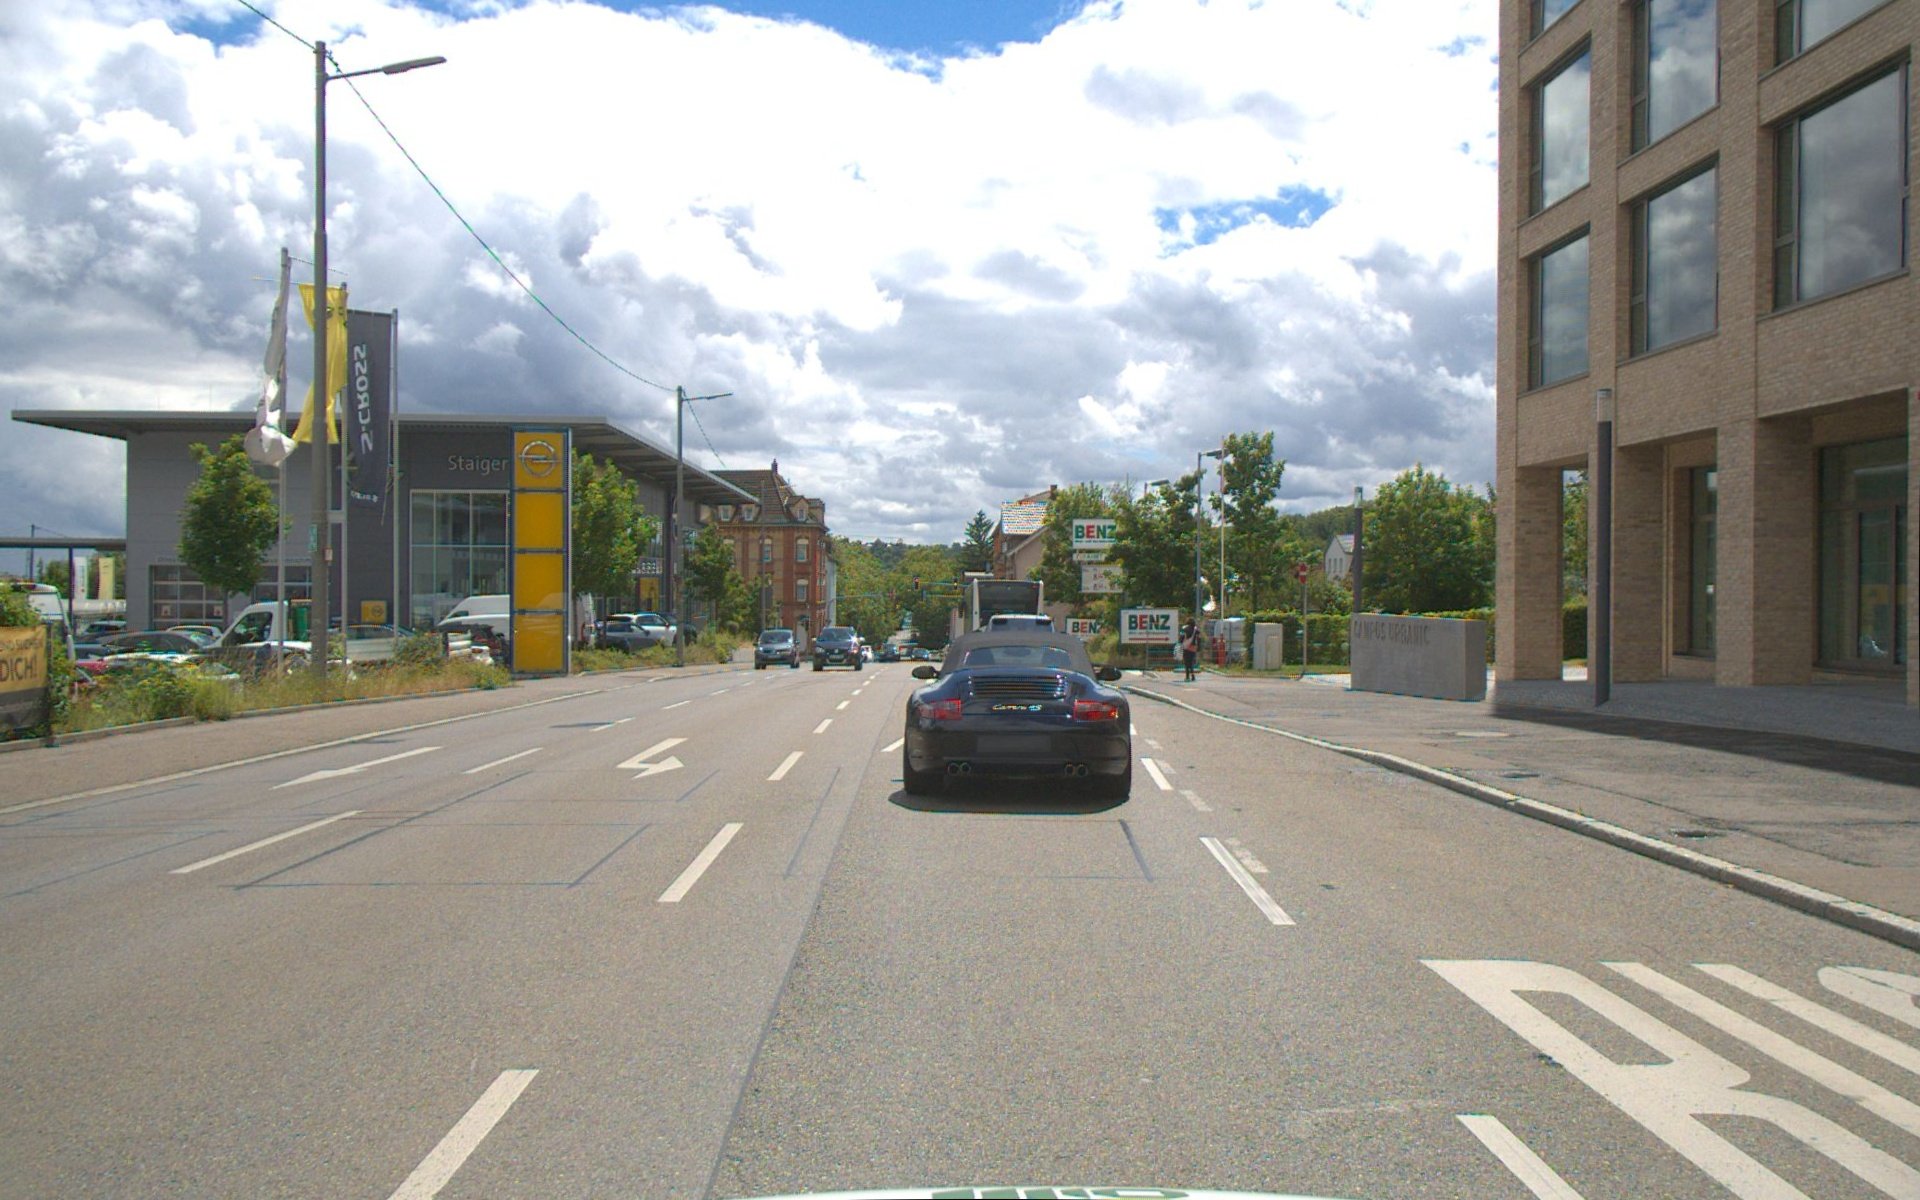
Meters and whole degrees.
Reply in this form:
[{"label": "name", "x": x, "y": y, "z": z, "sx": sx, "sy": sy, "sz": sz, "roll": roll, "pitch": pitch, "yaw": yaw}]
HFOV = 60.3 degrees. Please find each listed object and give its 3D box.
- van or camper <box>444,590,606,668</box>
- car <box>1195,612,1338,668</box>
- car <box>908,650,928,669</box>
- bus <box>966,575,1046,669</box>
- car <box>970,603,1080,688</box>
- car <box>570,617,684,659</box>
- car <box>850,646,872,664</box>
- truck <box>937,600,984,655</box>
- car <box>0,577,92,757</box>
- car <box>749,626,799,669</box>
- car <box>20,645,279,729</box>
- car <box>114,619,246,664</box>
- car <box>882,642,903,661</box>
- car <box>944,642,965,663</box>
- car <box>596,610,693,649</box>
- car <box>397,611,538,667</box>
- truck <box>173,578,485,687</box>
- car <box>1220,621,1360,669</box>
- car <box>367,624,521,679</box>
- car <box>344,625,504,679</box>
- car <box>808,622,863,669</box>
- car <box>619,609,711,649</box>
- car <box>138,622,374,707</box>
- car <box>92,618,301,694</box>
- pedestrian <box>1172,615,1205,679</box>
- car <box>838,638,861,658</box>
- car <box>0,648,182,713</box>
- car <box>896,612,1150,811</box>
[{"label": "van or camper", "x": -14.804, "y": 0.963, "z": 56.506, "sx": 4.925, "sy": 2.575, "sz": 2.317, "roll": 0, "pitch": 0, "yaw": -2}, {"label": "car", "x": 11.035, "y": 1.450, "z": 59.686, "sx": 4.620, "sy": 1.881, "sz": 2.084, "roll": -1, "pitch": -2, "yaw": -9}, {"label": "car", "x": -3.905, "y": 5.462, "z": 152.072, "sx": 1.826, "sy": 1.695, "sz": 4.257, "roll": 0, "pitch": -2, "yaw": -2}, {"label": "bus", "x": 1.664, "y": 0.700, "z": 63.708, "sx": 2.744, "sy": 3.254, "sz": 12.196, "roll": 0, "pitch": 1, "yaw": 1}, {"label": "car", "x": 1.275, "y": 0.895, "z": 34.263, "sx": 1.892, "sy": 1.610, "sz": 4.205, "roll": 0, "pitch": 0, "yaw": -3}, {"label": "car", "x": -13.078, "y": 1.466, "z": 65.268, "sx": 1.858, "sy": 1.476, "sz": 4.827, "roll": 1, "pitch": 1, "yaw": 26}, {"label": "car", "x": -8.960, "y": 4.998, "z": 150.002, "sx": 1.826, "sy": 1.567, "sz": 4.104, "roll": 0, "pitch": -2, "yaw": -2}, {"label": "truck", "x": -0.029, "y": 1.760, "z": 101.288, "sx": 2.613, "sy": 3.163, "sz": 9.031, "roll": -1, "pitch": -2, "yaw": -1}, {"label": "car", "x": -13.018, "y": 0.745, "z": 19.798, "sx": 4.077, "sy": 2.049, "sz": 2.197, "roll": 0, "pitch": 0, "yaw": -3}, {"label": "car", "x": -7.639, "y": 1.923, "z": 68.183, "sx": 1.709, "sy": 1.623, "sz": 4.040, "roll": -2, "pitch": -1, "yaw": -2}, {"label": "car", "x": -13.503, "y": 1.428, "z": 27.690, "sx": 3.472, "sy": 1.348, "sz": 1.711, "roll": 0, "pitch": -2, "yaw": 2}, {"label": "car", "x": -26.387, "y": 1.398, "z": 56.066, "sx": 3.625, "sy": 1.422, "sz": 1.845, "roll": 0, "pitch": 0, "yaw": -7}, {"label": "car", "x": -5.797, "y": 4.426, "z": 142.265, "sx": 1.826, "sy": 1.567, "sz": 4.104, "roll": 0, "pitch": -2, "yaw": -2}, {"label": "car", "x": -0.528, "y": 5.028, "z": 159.823, "sx": 1.796, "sy": 1.915, "sz": 3.998, "roll": 0, "pitch": -1, "yaw": -3}, {"label": "car", "x": -13.386, "y": 1.264, "z": 70.372, "sx": 1.891, "sy": 1.600, "sz": 4.552, "roll": -1, "pitch": -2, "yaw": 22}, {"label": "car", "x": -16.012, "y": 1.242, "z": 53.891, "sx": 3.903, "sy": 1.735, "sz": 2.001, "roll": 0, "pitch": 0, "yaw": 4}, {"label": "truck", "x": -13.380, "y": 0.704, "z": 35.441, "sx": 5.745, "sy": 2.185, "sz": 2.474, "roll": -1, "pitch": -2, "yaw": -4}, {"label": "car", "x": 11.302, "y": 1.551, "z": 56.861, "sx": 4.343, "sy": 1.508, "sz": 1.999, "roll": -1, "pitch": -2, "yaw": -2}, {"label": "car", "x": -15.288, "y": 1.504, "z": 49.138, "sx": 3.904, "sy": 1.517, "sz": 2.001, "roll": 0, "pitch": 0, "yaw": 1}, {"label": "car", "x": -15.111, "y": 1.463, "z": 46.802, "sx": 3.907, "sy": 1.433, "sz": 1.999, "roll": 0, "pitch": 0, "yaw": -3}, {"label": "car", "x": -4.294, "y": 1.576, "z": 57.520, "sx": 1.793, "sy": 1.535, "sz": 4.274, "roll": 0, "pitch": -1, "yaw": -3}, {"label": "car", "x": -13.436, "y": 1.297, "z": 75.571, "sx": 1.954, "sy": 1.728, "sz": 4.482, "roll": 1, "pitch": 1, "yaw": 24}, {"label": "car", "x": -13.888, "y": 1.269, "z": 32.805, "sx": 3.806, "sy": 1.638, "sz": 1.928, "roll": 0, "pitch": -2, "yaw": -1}, {"label": "car", "x": -17.976, "y": 1.302, "z": 39.081, "sx": 3.997, "sy": 1.548, "sz": 1.825, "roll": -3, "pitch": 1, "yaw": -2}, {"label": "pedestrian", "x": 5.614, "y": 1.150, "z": 40.710, "sx": 0.673, "sy": 1.563, "sz": 0.856, "roll": 0, "pitch": -1, "yaw": -1}, {"label": "car", "x": -8.983, "y": 3.880, "z": 134.595, "sx": 1.834, "sy": 1.517, "sz": 3.845, "roll": -3, "pitch": -1, "yaw": -4}, {"label": "car", "x": -18.880, "y": 1.701, "z": 35.276, "sx": 3.745, "sy": 1.352, "sz": 1.645, "roll": 0, "pitch": -2, "yaw": -1}, {"label": "car", "x": 0.473, "y": 0.846, "z": 14.427, "sx": 1.891, "sy": 1.401, "sz": 4.208, "roll": 0, "pitch": 1, "yaw": 0}]
